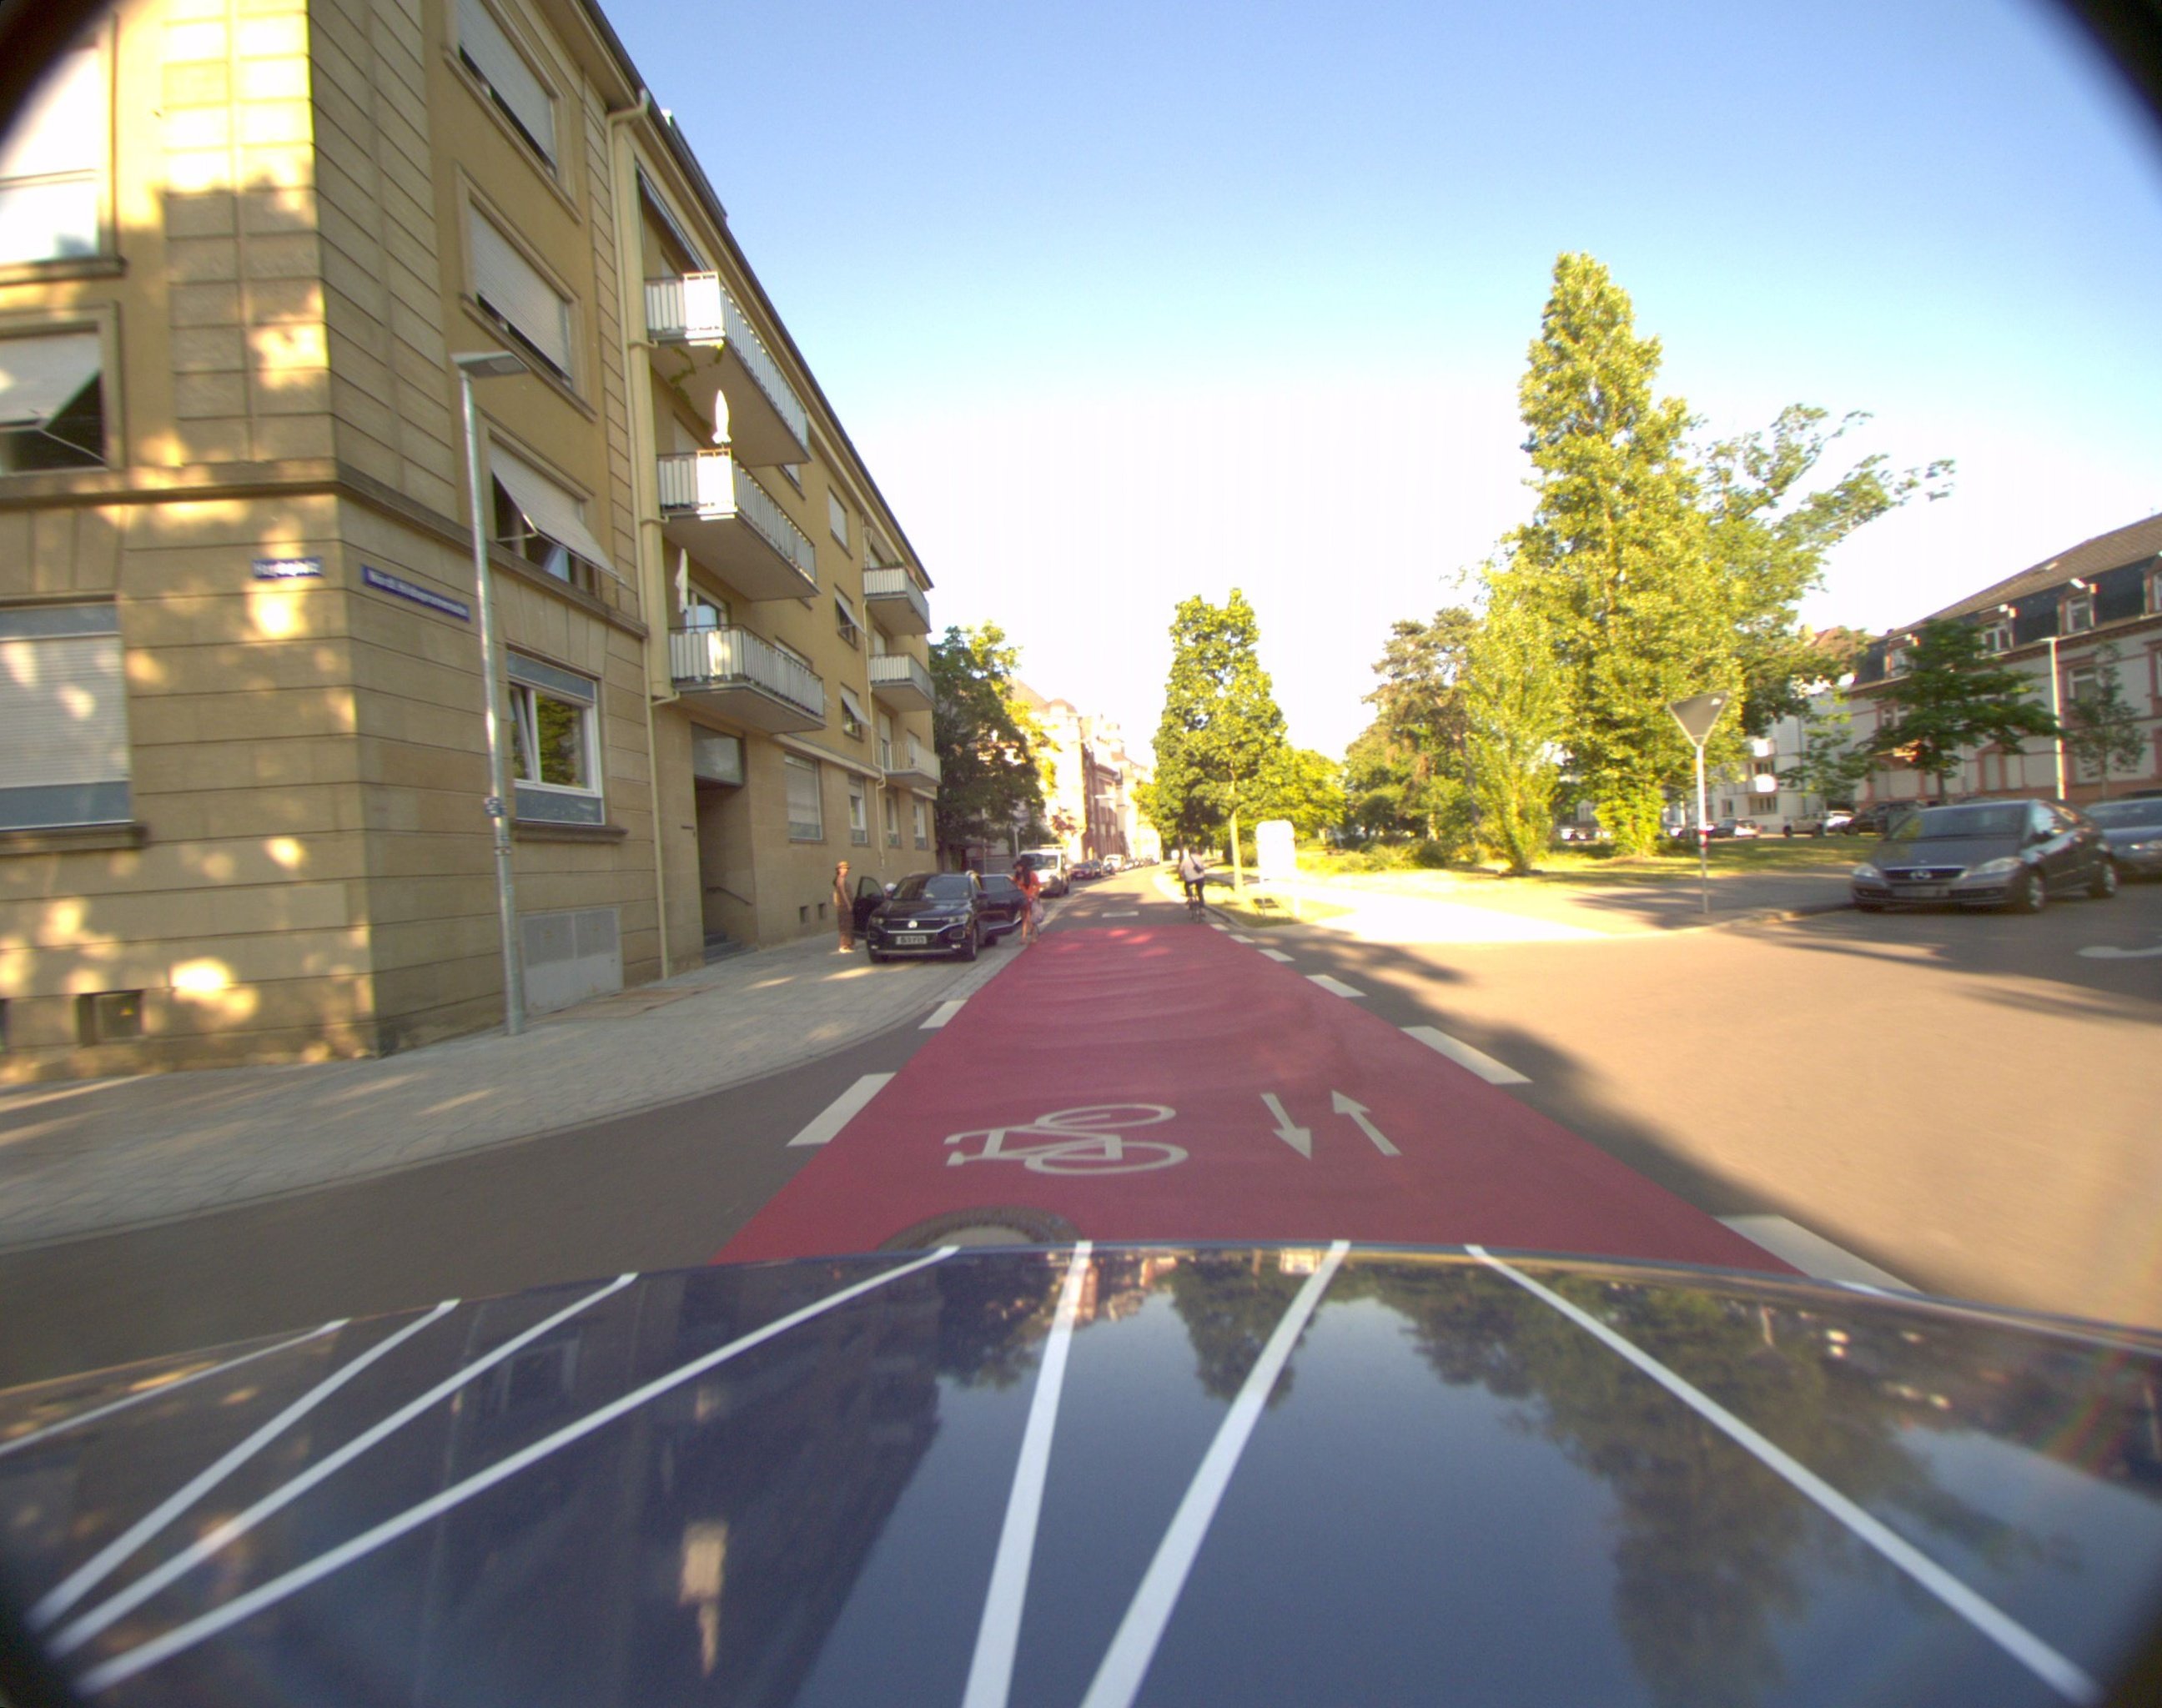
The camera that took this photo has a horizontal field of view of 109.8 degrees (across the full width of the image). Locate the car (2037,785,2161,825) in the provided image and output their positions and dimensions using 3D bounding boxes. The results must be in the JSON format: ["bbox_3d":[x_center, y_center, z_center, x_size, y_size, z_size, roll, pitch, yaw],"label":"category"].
[{"bbox_3d":[44.539,-2.072,32.421,1.889,1.565,4.599,-3,2,5],"label":"car"}]

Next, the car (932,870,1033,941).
[{"bbox_3d":[-2.342,1.198,19.179,1.707,1.412,4.349,-1,1,4],"label":"car"}]

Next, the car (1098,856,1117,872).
[{"bbox_3d":[2.641,0.970,75.203,1.509,1.437,3.731,-3,1,7],"label":"car"}]

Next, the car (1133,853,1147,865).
[{"bbox_3d":[8.338,0.646,107.448,1.582,1.499,3.848,-3,1,8],"label":"car"}]

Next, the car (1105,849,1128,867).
[{"bbox_3d":[4.117,0.444,87.607,2.118,1.942,4.763,-3,1,8],"label":"car"}]

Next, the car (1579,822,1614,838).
[{"bbox_3d":[55.566,-2.602,82.015,1.887,1.565,4.603,-3,2,18],"label":"car"}]

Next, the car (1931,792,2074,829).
[{"bbox_3d":[45.390,-2.112,37.592,1.888,1.565,4.600,-3,2,8],"label":"car"}]

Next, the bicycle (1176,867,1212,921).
[{"bbox_3d":[2.726,0.943,18.387,0.739,1.129,2.105,-4,0,8],"label":"bicycle"}]

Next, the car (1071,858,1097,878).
[{"bbox_3d":[0.272,1.102,59.464,1.610,1.349,3.549,-3,1,7],"label":"car"}]

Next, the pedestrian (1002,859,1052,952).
[{"bbox_3d":[-1.073,1.014,15.345,0.778,1.759,0.955,-4,0,2],"label":"pedestrian"}]

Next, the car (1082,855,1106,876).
[{"bbox_3d":[1.140,0.952,64.922,1.610,1.608,3.952,-3,1,7],"label":"car"}]

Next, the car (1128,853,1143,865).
[{"bbox_3d":[7.345,0.635,102.451,1.582,1.499,3.848,-3,1,8],"label":"car"}]

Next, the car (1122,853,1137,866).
[{"bbox_3d":[6.168,0.717,96.653,1.582,1.499,3.848,-3,1,8],"label":"car"}]

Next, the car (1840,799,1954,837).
[{"bbox_3d":[46.281,-2.048,43.260,1.888,1.883,4.978,-3,2,12],"label":"car"}]

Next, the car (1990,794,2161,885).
[{"bbox_3d":[18.650,-0.317,13.544,4.280,1.392,1.837,-4,1,-21],"label":"car"}]

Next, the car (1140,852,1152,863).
[{"bbox_3d":[9.835,0.499,114.358,1.582,1.499,3.848,-3,1,8],"label":"car"}]

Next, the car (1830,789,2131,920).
[{"bbox_3d":[13.613,-0.048,11.515,3.850,1.622,1.836,-4,1,-23],"label":"car"}]

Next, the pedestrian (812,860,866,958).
[{"bbox_3d":[-4.759,1.063,14.937,0.733,1.819,0.555,-5,0,-35],"label":"pedestrian"}]

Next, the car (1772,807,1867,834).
[{"bbox_3d":[47.498,-2.145,49.013,1.889,1.565,4.599,-3,2,5],"label":"car"}]

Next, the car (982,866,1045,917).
[{"bbox_3d":[-2.172,1.195,25.291,1.707,1.412,4.035,-1,1,0],"label":"car"}]

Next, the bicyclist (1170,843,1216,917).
[{"bbox_3d":[2.706,0.616,18.407,0.939,1.693,0.906,-4,1,7],"label":"bicyclist"}]

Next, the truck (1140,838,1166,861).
[{"bbox_3d":[11.800,-0.794,123.853,3.018,3.423,7.629,-3,1,13],"label":"truck"}]

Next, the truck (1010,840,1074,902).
[{"bbox_3d":[-1.688,0.679,36.069,2.133,2.549,6.877,-3,1,3],"label":"truck"}]

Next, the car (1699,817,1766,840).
[{"bbox_3d":[49.403,-1.951,57.753,1.888,1.565,4.601,-3,2,12],"label":"car"}]

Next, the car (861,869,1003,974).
[{"bbox_3d":[-2.606,1.118,14.342,1.707,1.616,4.349,-1,-1,1],"label":"car"}]
